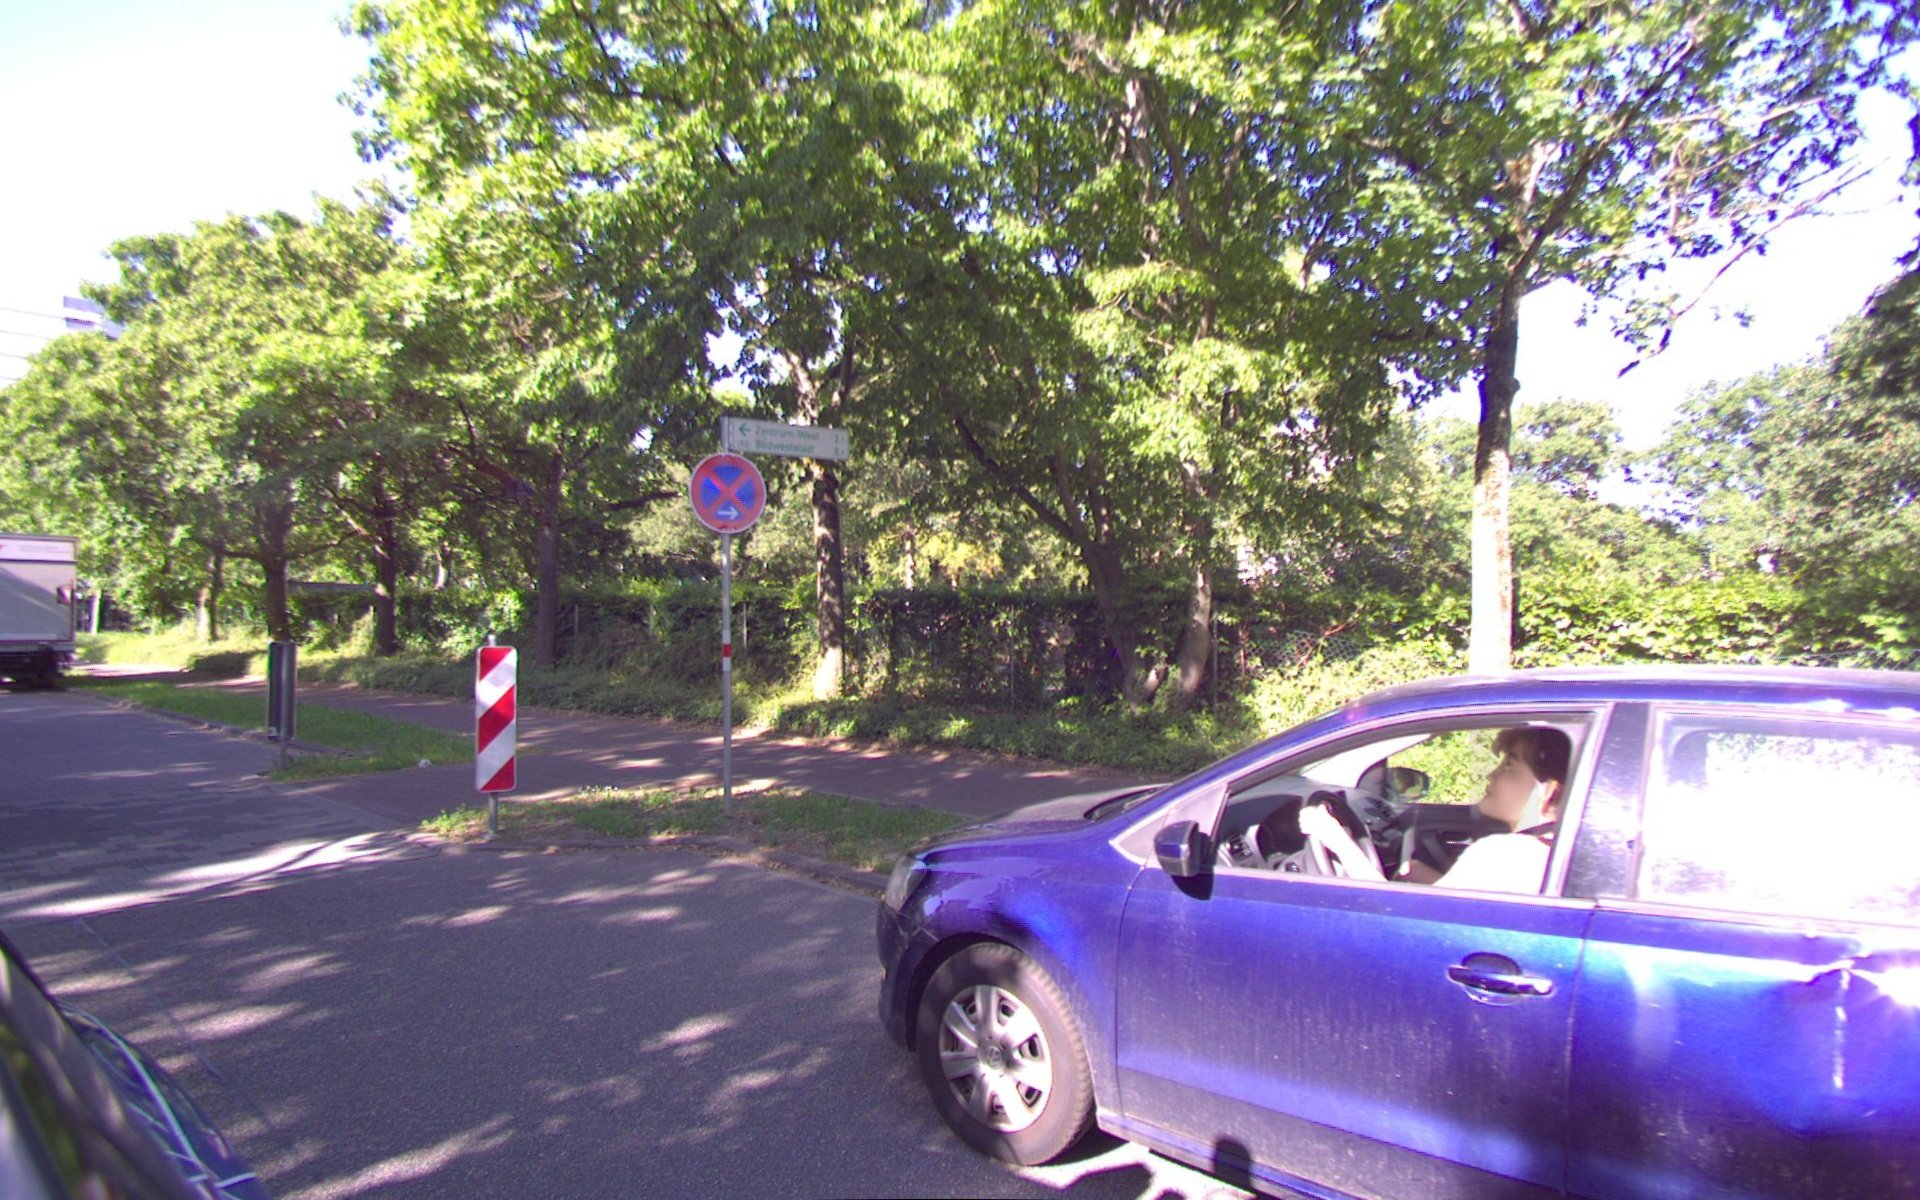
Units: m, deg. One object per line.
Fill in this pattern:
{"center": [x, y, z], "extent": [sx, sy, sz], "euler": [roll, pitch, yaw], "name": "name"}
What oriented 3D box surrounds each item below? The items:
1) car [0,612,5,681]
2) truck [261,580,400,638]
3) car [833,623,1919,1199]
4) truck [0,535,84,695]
{"center": [-32.382, 1.473, 32.228], "extent": [6.578, 2.112, 2.098], "euler": [-2, -2, 40], "name": "car"}
{"center": [-23.863, 0.415, 38.468], "extent": [2.201, 2.029, 3.948], "euler": [-2, -3, 39], "name": "truck"}
{"center": [1.505, 0.801, 2.572], "extent": [3.649, 1.437, 1.584], "euler": [-2, -3, 41], "name": "car"}
{"center": [-24.945, 0.422, 25.843], "extent": [8.095, 3.669, 2.706], "euler": [-2, -2, 41], "name": "truck"}
